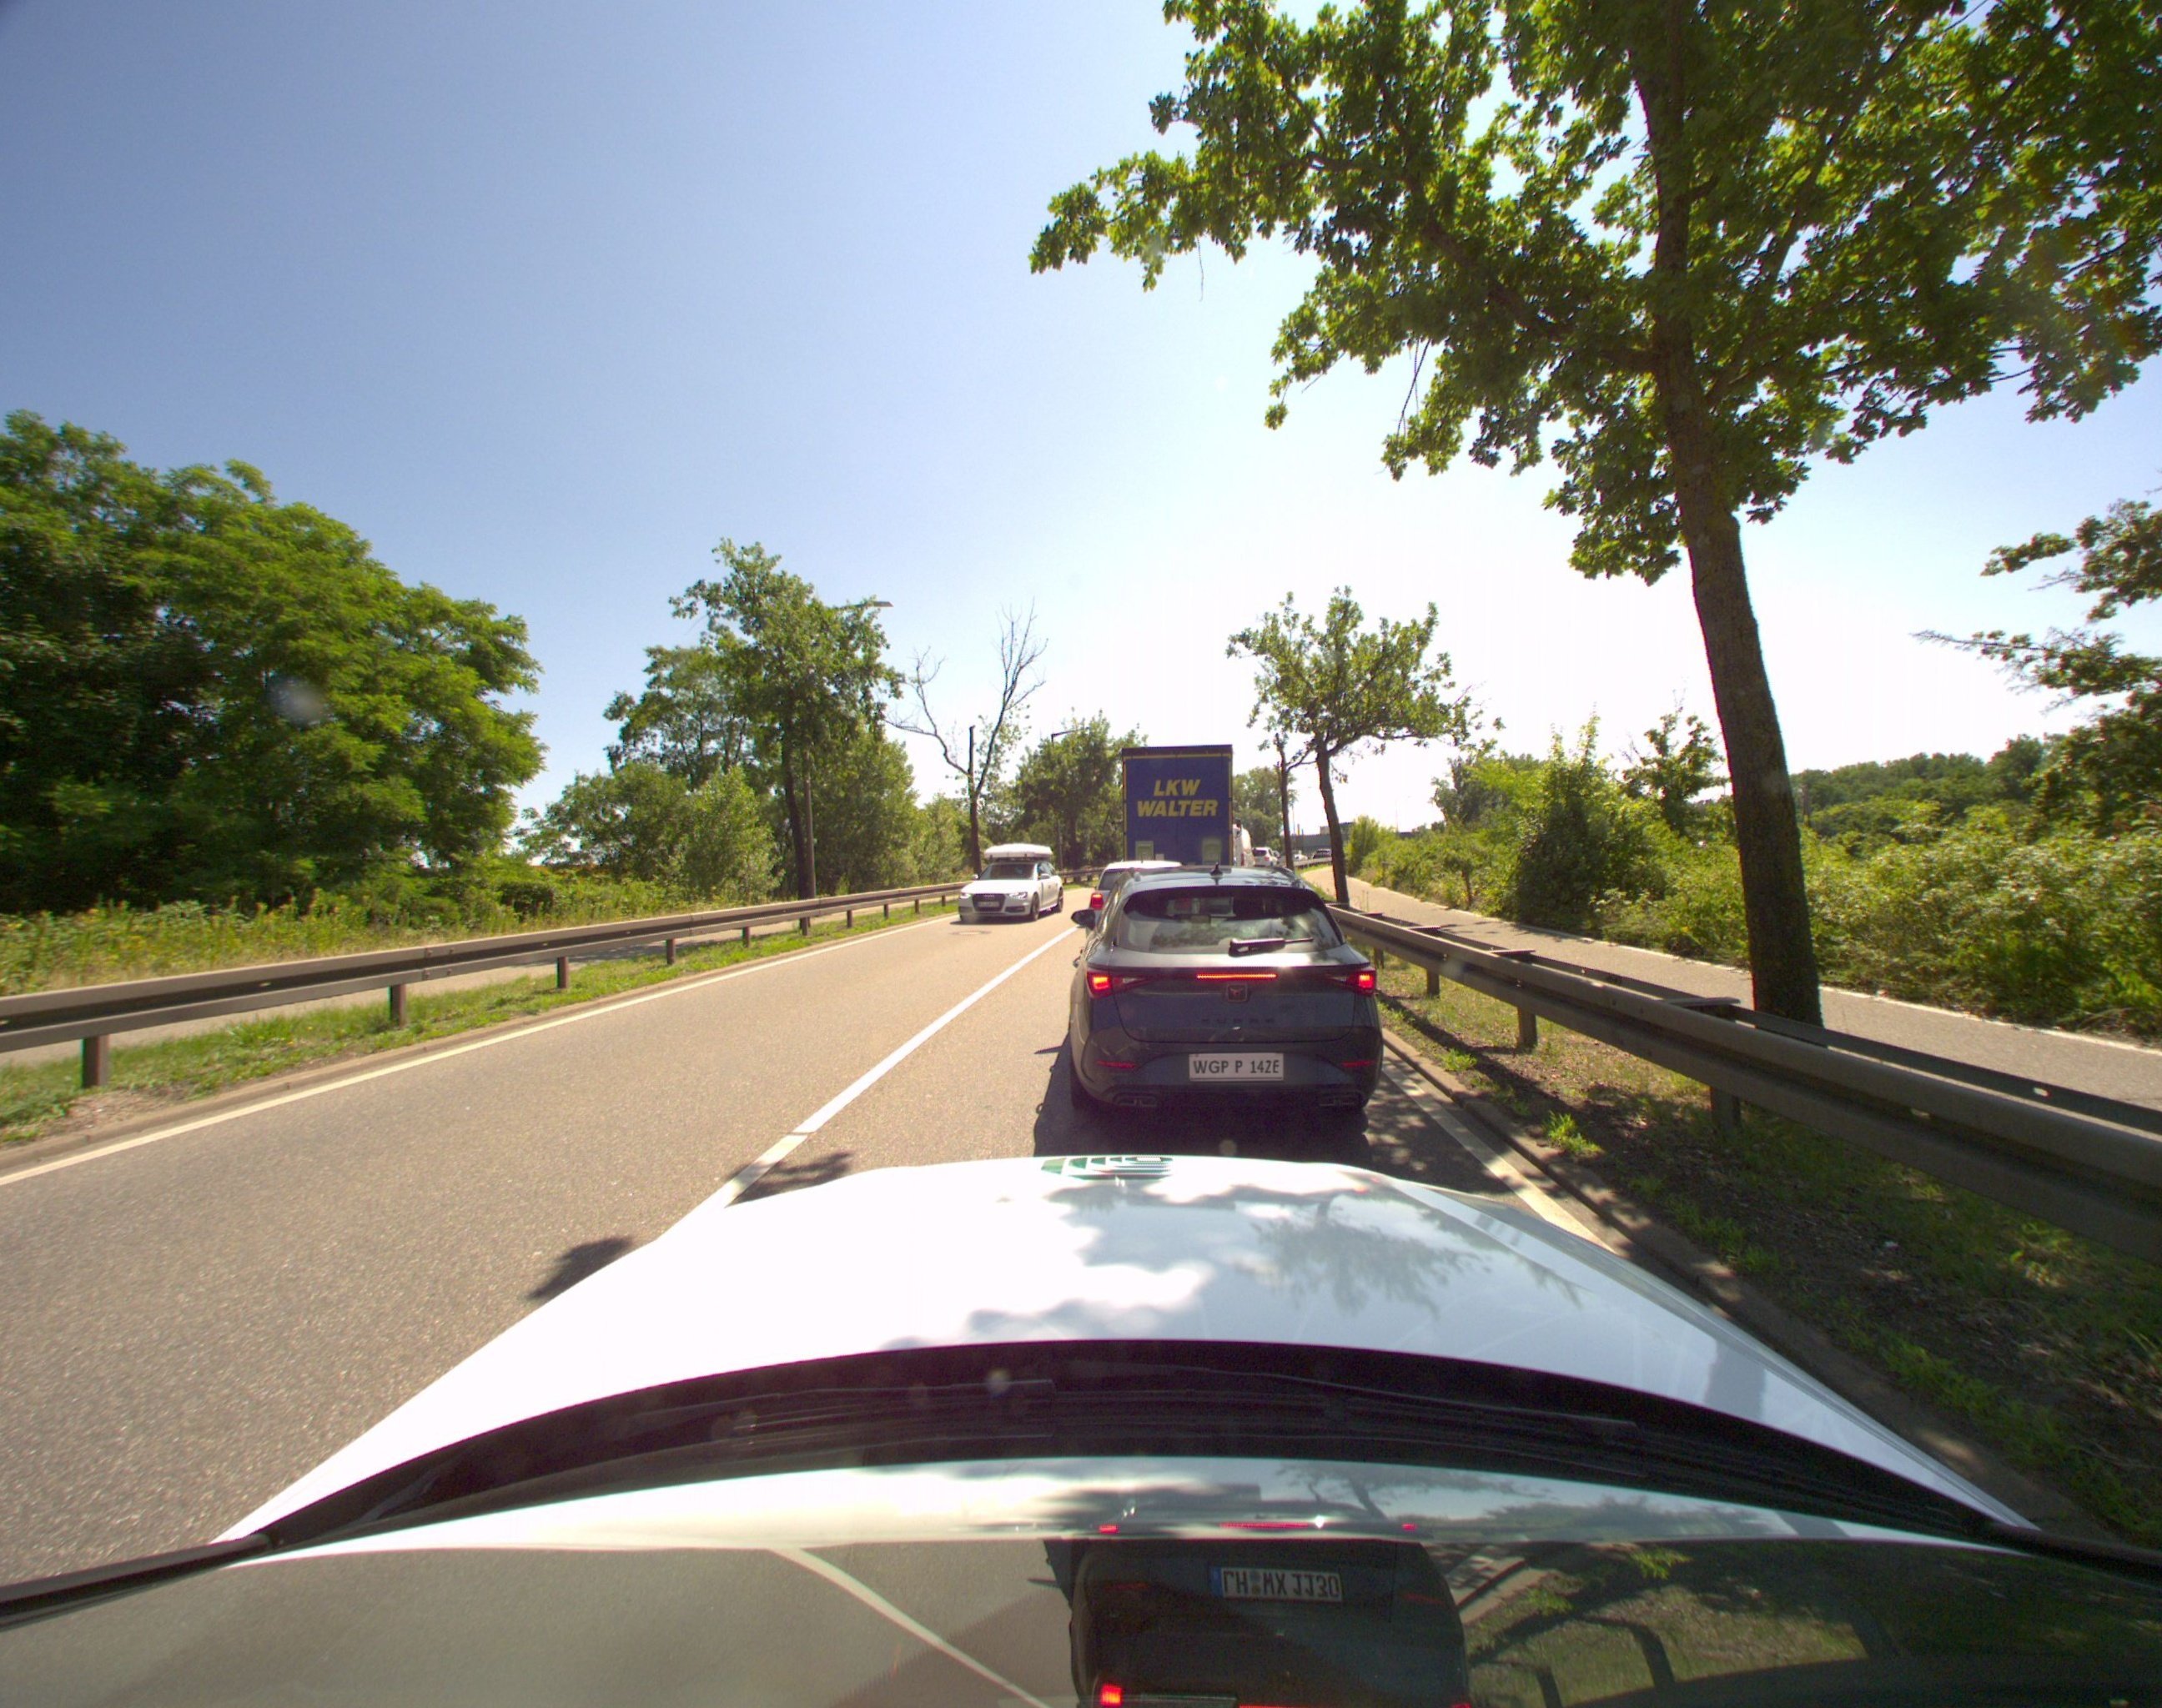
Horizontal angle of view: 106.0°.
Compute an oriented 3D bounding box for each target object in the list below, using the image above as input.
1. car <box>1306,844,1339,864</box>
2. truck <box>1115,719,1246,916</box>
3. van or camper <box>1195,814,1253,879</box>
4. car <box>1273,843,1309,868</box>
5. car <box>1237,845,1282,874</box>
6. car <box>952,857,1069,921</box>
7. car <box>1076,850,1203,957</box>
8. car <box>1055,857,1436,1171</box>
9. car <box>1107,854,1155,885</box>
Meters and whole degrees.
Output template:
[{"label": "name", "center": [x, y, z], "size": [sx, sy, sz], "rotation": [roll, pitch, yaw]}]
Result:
[{"label": "car", "center": [21.577, 0.036, 72.632], "size": [1.975, 1.717, 4.897], "rotation": [-1, 0, 26]}, {"label": "truck", "center": [3.708, -0.807, 26.929], "size": [2.932, 4.449, 16.844], "rotation": [-1, 0, 10]}, {"label": "van or camper", "center": [7.234, -0.344, 40.668], "size": [2.449, 2.998, 6.109], "rotation": [-1, 0, 14]}, {"label": "car", "center": [15.882, 0.085, 61.345], "size": [1.976, 1.808, 4.871], "rotation": [-1, 0, 22]}, {"label": "car", "center": [11.007, 0.318, 50.049], "size": [1.976, 1.712, 4.644], "rotation": [-1, 0, 21]}, {"label": "car", "center": [-1.633, 0.795, 20.554], "size": [1.808, 1.421, 4.479], "rotation": [-1, 0, 10]}, {"label": "car", "center": [0.963, 0.714, 13.620], "size": [1.801, 1.508, 4.004], "rotation": [-1, 0, 4]}, {"label": "car", "center": [0.832, 0.749, 5.704], "size": [1.737, 1.432, 3.882], "rotation": [-1, 0, 2]}, {"label": "car", "center": [2.435, 0.691, 38.814], "size": [1.748, 1.396, 4.419], "rotation": [-1, 0, 10]}]
